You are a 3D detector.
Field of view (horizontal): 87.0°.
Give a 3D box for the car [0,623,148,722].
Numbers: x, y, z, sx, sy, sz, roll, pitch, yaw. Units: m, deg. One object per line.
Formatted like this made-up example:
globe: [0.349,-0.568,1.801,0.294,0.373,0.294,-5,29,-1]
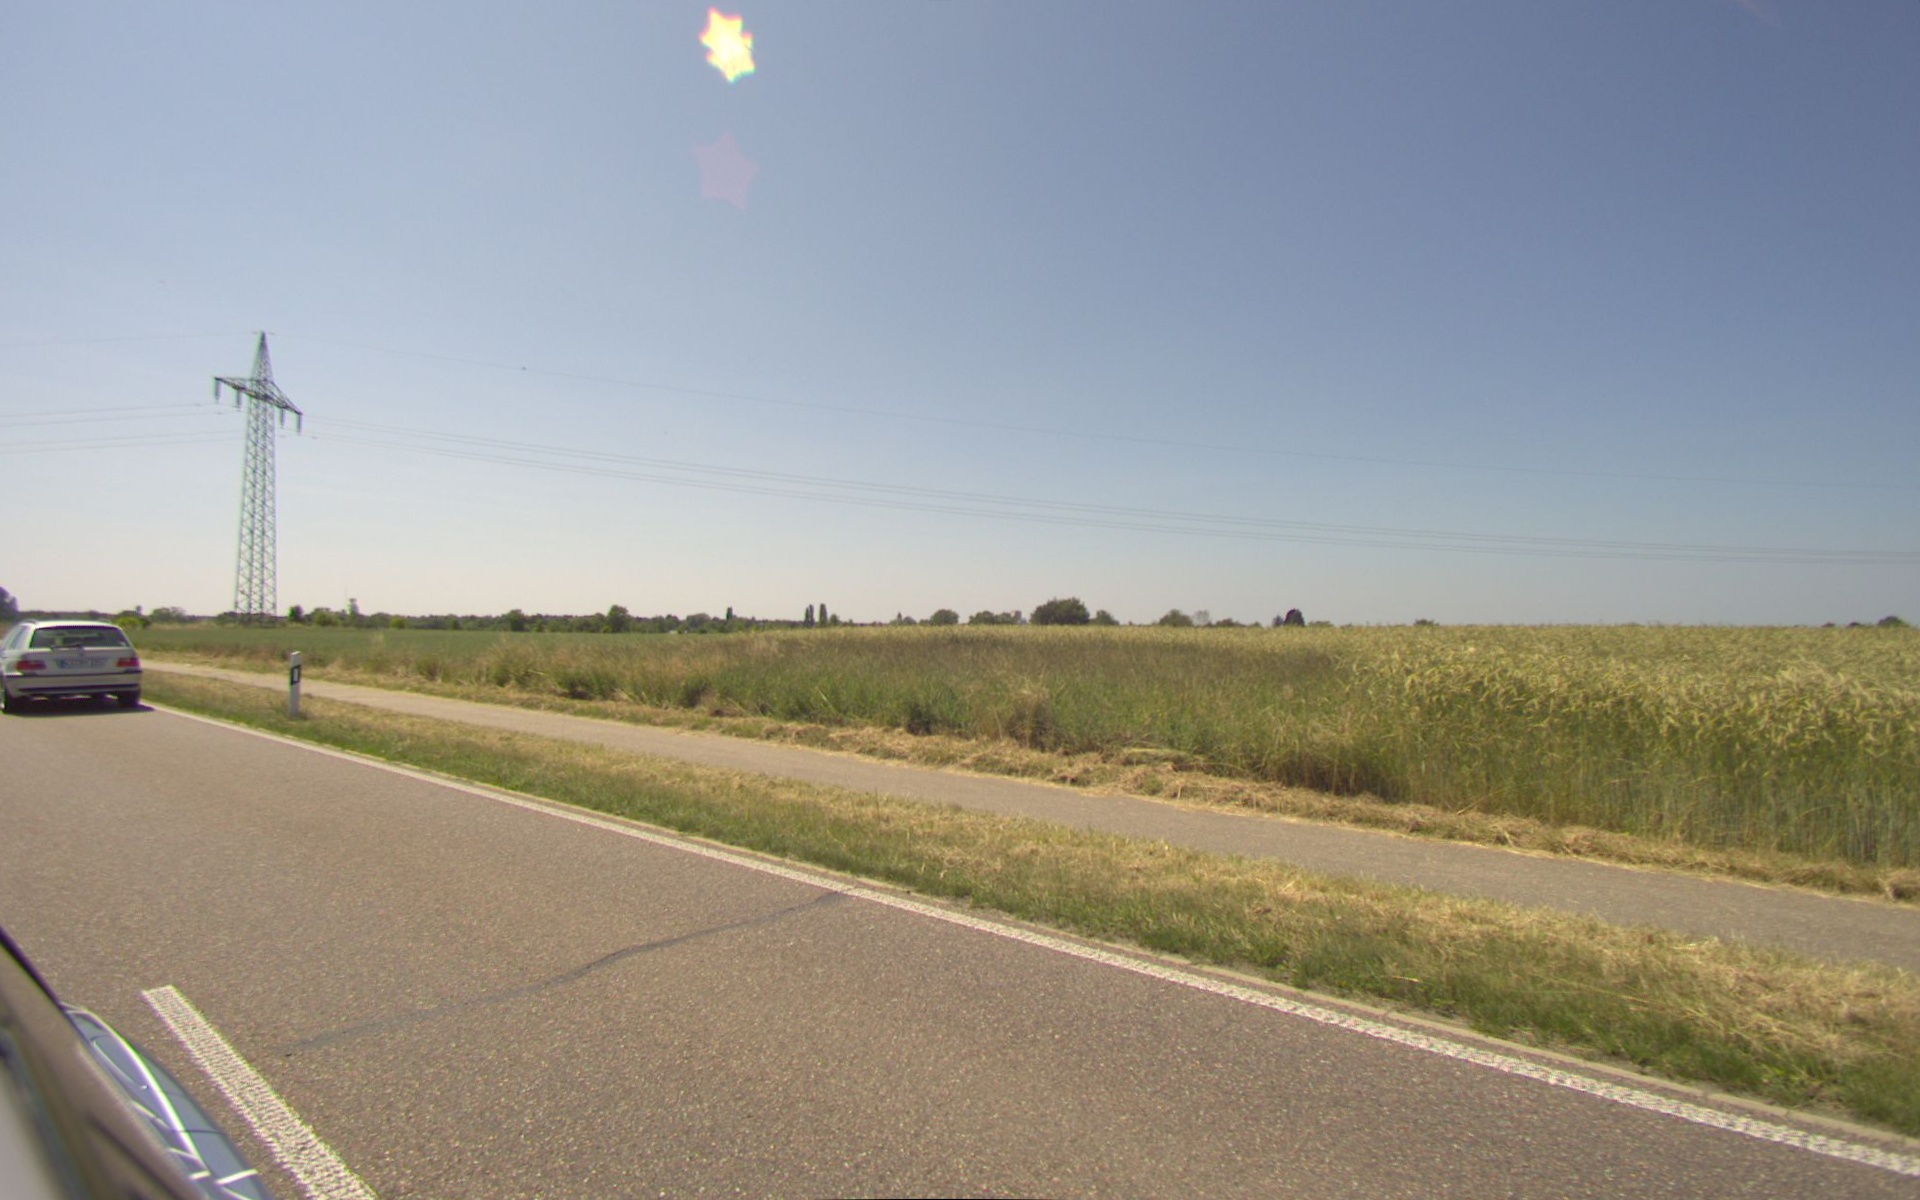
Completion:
car: [-15.029,1.108,16.803,4.030,1.411,1.729,-1,-1,41]
